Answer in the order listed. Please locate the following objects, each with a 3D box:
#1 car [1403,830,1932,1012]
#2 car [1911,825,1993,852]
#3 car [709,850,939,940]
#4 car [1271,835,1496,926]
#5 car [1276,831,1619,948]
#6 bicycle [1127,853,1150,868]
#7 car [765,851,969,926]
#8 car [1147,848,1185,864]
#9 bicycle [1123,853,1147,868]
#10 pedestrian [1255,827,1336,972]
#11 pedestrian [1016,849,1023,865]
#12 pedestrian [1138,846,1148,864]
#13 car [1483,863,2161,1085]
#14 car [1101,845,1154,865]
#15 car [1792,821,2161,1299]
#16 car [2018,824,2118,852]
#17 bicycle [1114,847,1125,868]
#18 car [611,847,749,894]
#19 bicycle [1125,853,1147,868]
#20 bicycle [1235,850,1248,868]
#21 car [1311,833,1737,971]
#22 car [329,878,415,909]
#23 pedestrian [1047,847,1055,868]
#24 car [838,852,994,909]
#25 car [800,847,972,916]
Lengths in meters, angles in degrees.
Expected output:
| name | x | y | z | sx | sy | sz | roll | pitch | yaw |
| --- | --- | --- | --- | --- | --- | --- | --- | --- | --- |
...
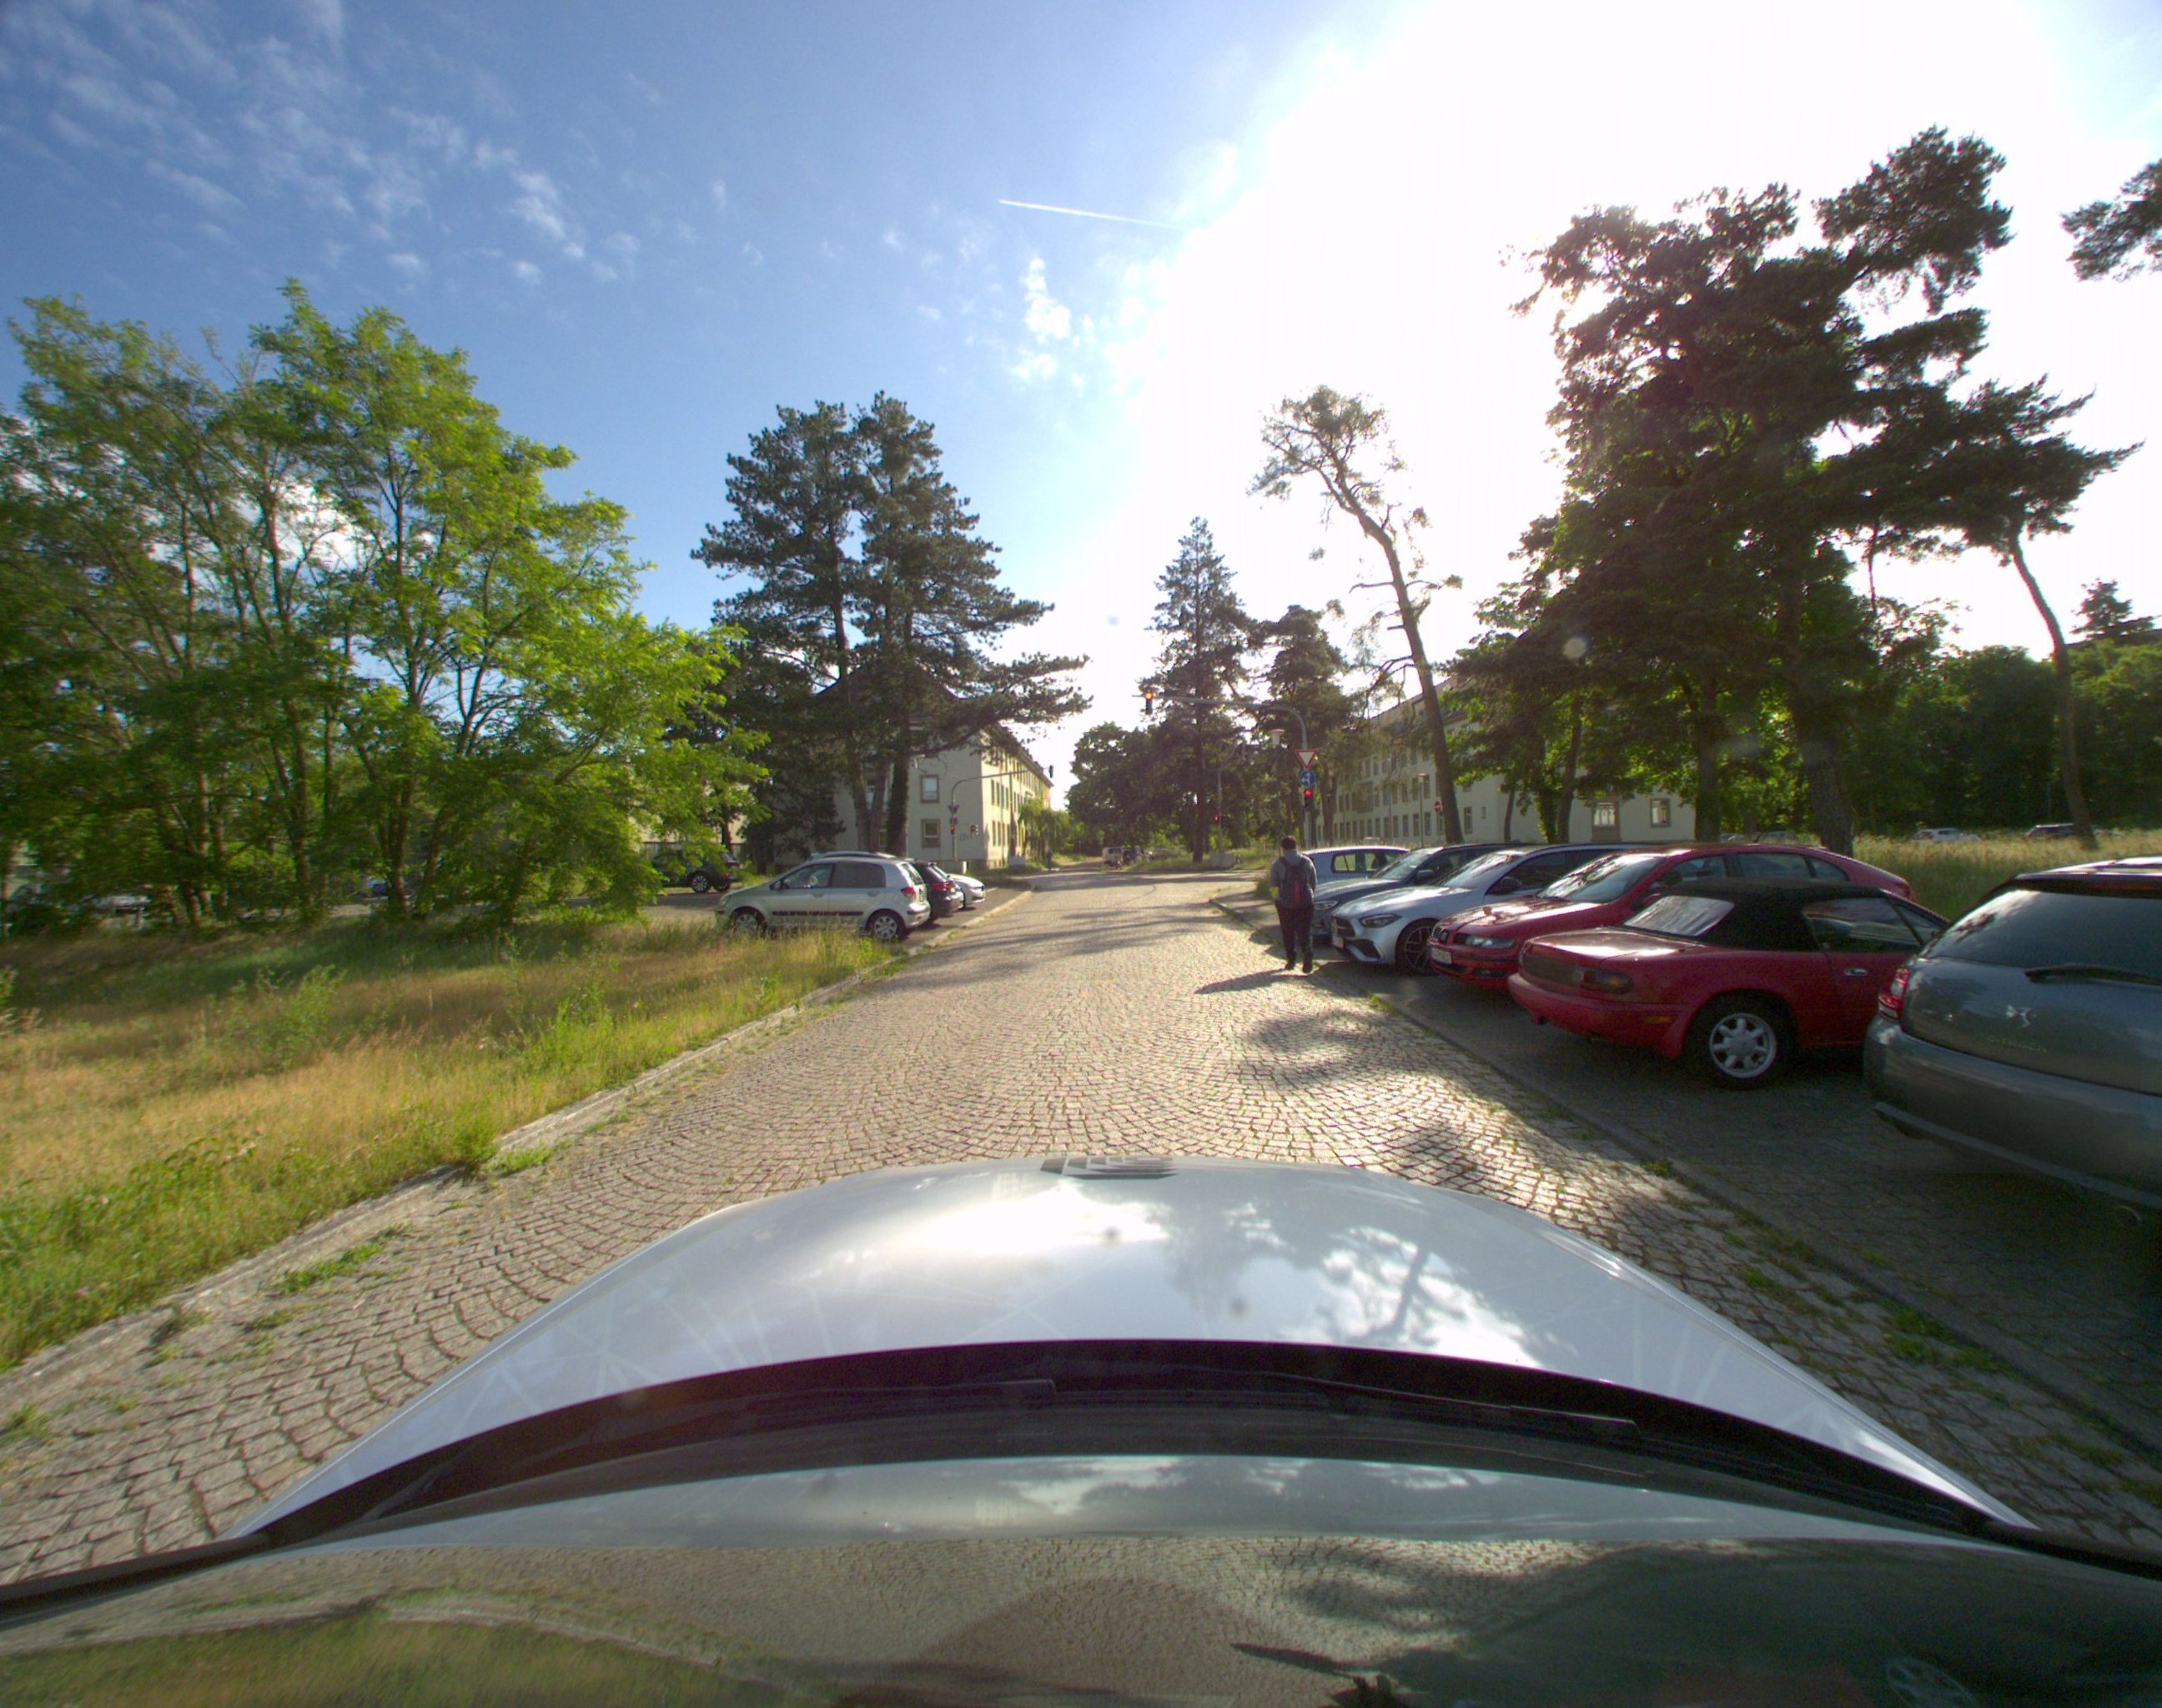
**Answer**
| name | x | y | z | sx | sy | sz | roll | pitch | yaw |
| --- | --- | --- | --- | --- | --- | --- | --- | --- | --- |
| car | 5.482 | 0.590 | 8.005 | 3.964 | 1.448 | 1.656 | -2 | 0 | 1 |
| car | 60.058 | -1.055 | 56.218 | 3.619 | 1.671 | 1.769 | -2 | 0 | 4 |
| car | -4.638 | 0.711 | 15.098 | 3.674 | 1.527 | 1.699 | 1 | 0 | -1 |
| car | 5.673 | 0.482 | 15.606 | 3.659 | 1.443 | 1.666 | -3 | 0 | 2 |
| car | 5.692 | 0.523 | 13.070 | 4.605 | 1.455 | 1.870 | -4 | 0 | 0 |
| bicycle | 4.648 | 0.493 | 65.867 | 1.722 | 1.164 | 0.561 | -2 | 0 | -2 |
| car | -4.563 | 0.709 | 17.760 | 3.923 | 1.445 | 1.691 | 2 | 0 | 1 |
| car | 8.971 | 0.175 | 86.347 | 3.738 | 1.580 | 1.738 | -1 | 0 | -5 |
| bicycle | 4.293 | 0.541 | 64.651 | 1.829 | 1.112 | 0.495 | -2 | 0 | -2 |
| pedestrian | 2.708 | 0.554 | 10.355 | 0.750 | 1.725 | 0.829 | 3 | 0 | 2 |
| pedestrian | -5.982 | 0.315 | 78.969 | 0.605 | 1.559 | 0.544 | -2 | 0 | -4 |
| pedestrian | 6.148 | 0.109 | 80.772 | 0.758 | 1.783 | 0.683 | -2 | 0 | -6 |
| car | 4.883 | 0.736 | 5.632 | 3.446 | 1.242 | 1.537 | -1 | 0 | 2 |
| car | 4.712 | 0.097 | 82.545 | 5.062 | 1.918 | 1.995 | -2 | 0 | -7 |
| car | 5.211 | 0.569 | 2.990 | 3.649 | 1.455 | 1.667 | -3 | 0 | 2 |
| car | 58.994 | -0.937 | 48.716 | 3.619 | 1.497 | 1.769 | -2 | 0 | 4 |
| bicycle | 2.868 | 0.257 | 61.237 | 0.750 | 1.580 | 2.538 | -1 | 0 | 2 |
| car | -15.059 | 0.605 | 30.753 | 4.126 | 1.608 | 2.011 | -2 | 0 | 3 |
| bicycle | 4.384 | 0.538 | 65.193 | 1.722 | 1.112 | 0.484 | -2 | 0 | -2 |
| bicycle | 10.363 | 0.331 | 52.542 | 0.717 | 1.115 | 2.592 | -2 | 0 | 12 |
| car | 5.369 | 0.551 | 10.309 | 4.383 | 1.388 | 1.789 | -3 | 0 | 1 |
| car | -45.821 | 2.523 | 52.741 | 1.856 | 1.778 | 4.008 | -2 | 0 | 5 |
| pedestrian | -2.560 | 0.316 | 69.647 | 0.604 | 1.752 | 0.630 | -1 | 0 | 2 |
| car | -4.629 | 0.717 | 23.152 | 3.966 | 1.496 | 1.776 | 1 | 0 | 6 |
| car | -4.834 | 0.664 | 20.543 | 3.866 | 1.615 | 1.661 | 1 | 0 | 1 |
